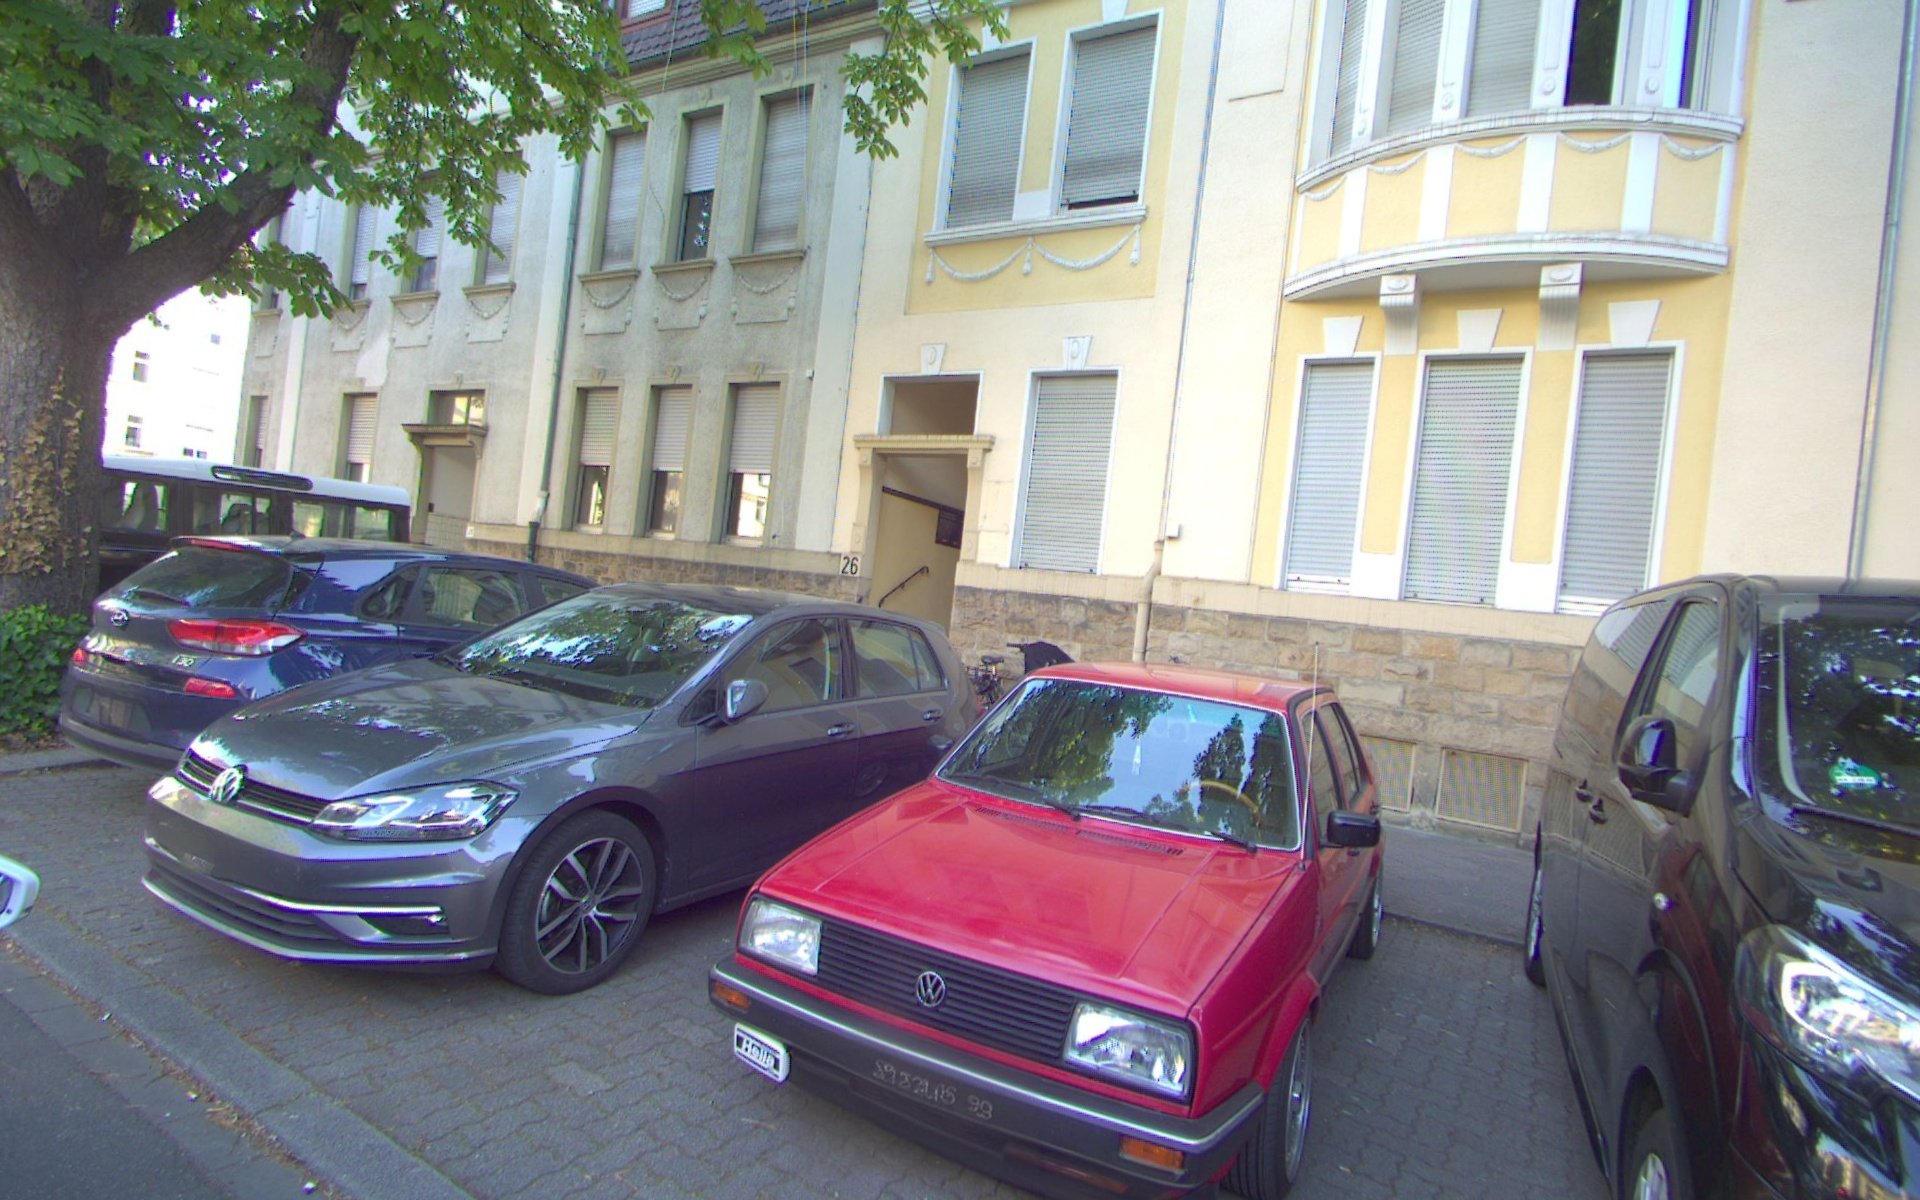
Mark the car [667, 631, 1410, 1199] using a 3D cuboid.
[{"bbox_3d":[0.875,0.943,4.308,1.601,1.332,4.144,6,0,27],"label":"car"}]

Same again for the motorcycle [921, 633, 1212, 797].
[{"bbox_3d":[0.956,0.995,9.398,2.439,1.087,0.959,7,2,32],"label":"motorcycle"}]

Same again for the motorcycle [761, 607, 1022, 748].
[{"bbox_3d":[-0.789,0.774,10.788,2.822,1.087,0.694,7,2,31],"label":"motorcycle"}]

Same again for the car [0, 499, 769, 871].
[{"bbox_3d":[-3.085,0.423,6.203,1.679,1.470,3.730,6,0,28],"label":"car"}]

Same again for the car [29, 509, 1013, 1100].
[{"bbox_3d":[-1.432,0.619,4.820,1.693,1.470,4.060,6,0,28],"label":"car"}]

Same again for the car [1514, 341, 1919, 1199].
[{"bbox_3d":[2.852,0.867,2.881,1.864,1.898,4.759,6,0,27],"label":"car"}]

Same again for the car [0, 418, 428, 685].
[{"bbox_3d":[-7.592,-0.370,9.240,1.671,2.061,4.473,6,0,28],"label":"car"}]

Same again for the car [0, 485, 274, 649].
[{"bbox_3d":[-9.987,-0.387,10.941,1.679,1.589,3.730,6,0,28],"label":"car"}]
